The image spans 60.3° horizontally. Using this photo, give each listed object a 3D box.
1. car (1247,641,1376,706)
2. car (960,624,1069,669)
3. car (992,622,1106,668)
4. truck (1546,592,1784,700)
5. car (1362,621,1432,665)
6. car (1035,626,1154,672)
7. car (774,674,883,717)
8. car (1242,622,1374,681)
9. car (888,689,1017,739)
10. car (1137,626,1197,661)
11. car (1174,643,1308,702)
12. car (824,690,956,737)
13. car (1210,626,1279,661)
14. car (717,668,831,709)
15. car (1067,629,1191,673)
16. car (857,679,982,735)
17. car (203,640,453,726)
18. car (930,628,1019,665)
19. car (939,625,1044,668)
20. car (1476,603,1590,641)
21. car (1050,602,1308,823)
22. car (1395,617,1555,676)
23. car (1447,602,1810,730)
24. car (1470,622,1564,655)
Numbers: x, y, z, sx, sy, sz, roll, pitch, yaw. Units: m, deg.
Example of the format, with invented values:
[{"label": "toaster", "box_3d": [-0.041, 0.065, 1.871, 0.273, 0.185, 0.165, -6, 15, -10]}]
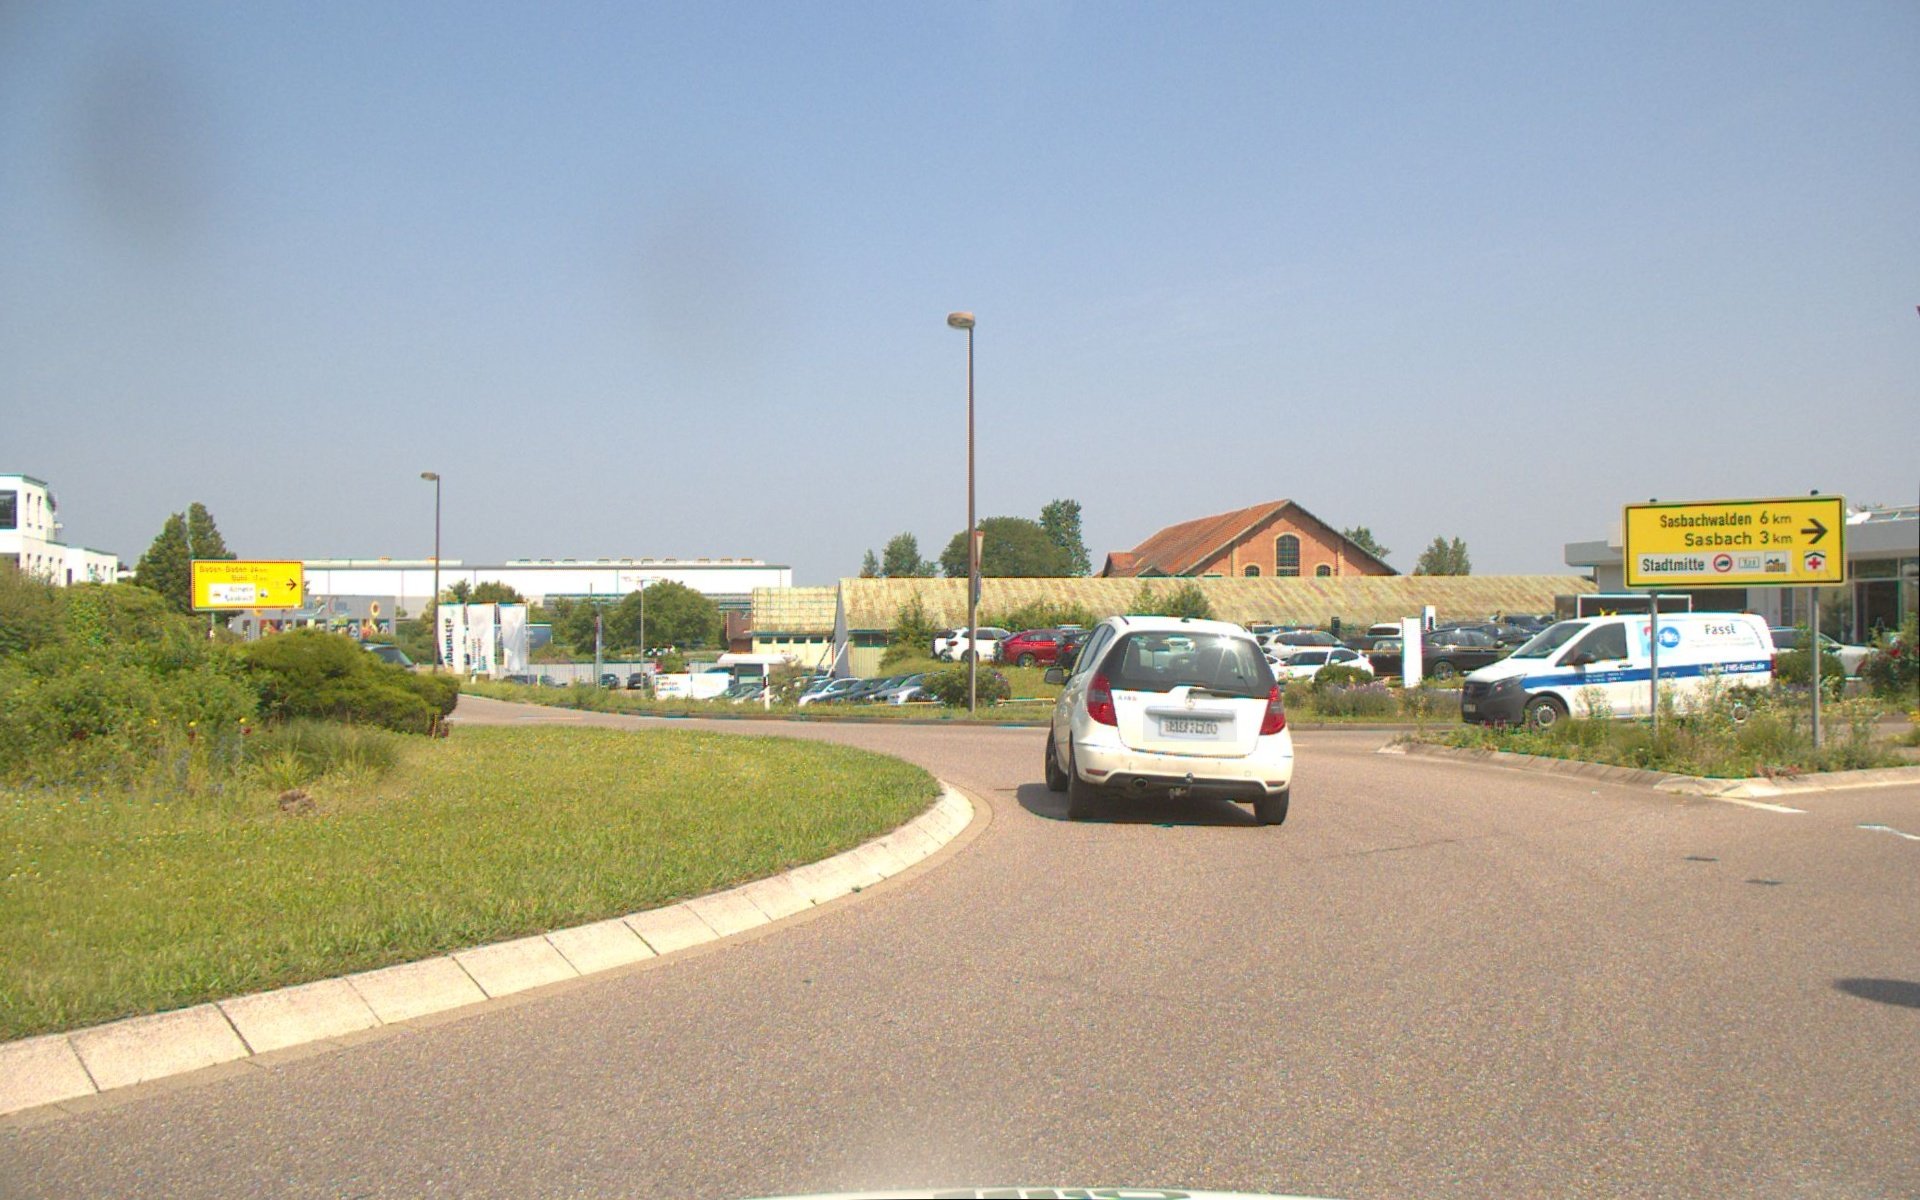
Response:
[{"label": "car", "box_3d": [10.604, 2.187, 49.726, 1.736, 1.598, 4.640, -3, 0, 41]}, {"label": "car", "box_3d": [2.328, 1.975, 70.805, 4.372, 1.778, 1.835, -1, -1, -10]}, {"label": "car", "box_3d": [3.682, 1.879, 68.638, 4.372, 1.778, 1.945, -1, -1, -10]}, {"label": "truck", "box_3d": [18.783, 1.213, 44.204, 5.498, 2.712, 1.948, -1, -1, -4]}, {"label": "car", "box_3d": [17.166, 1.669, 64.884, 1.621, 1.614, 4.261, -2, -1, 29]}, {"label": "car", "box_3d": [5.311, 1.946, 65.703, 4.372, 1.663, 1.945, -1, -1, -10]}, {"label": "car", "box_3d": [-5.375, 3.905, 67.676, 3.949, 1.579, 1.977, 0, -4, -33]}, {"label": "car", "box_3d": [11.835, 1.729, 56.320, 3.923, 1.781, 1.945, -2, -1, -10]}, {"label": "car", "box_3d": [-0.264, 4.075, 59.150, 4.201, 1.491, 1.856, -2, -4, -29]}, {"label": "car", "box_3d": [9.962, 2.103, 79.935, 1.880, 1.624, 4.297, -1, -1, -7]}, {"label": "car", "box_3d": [8.804, 2.244, 51.614, 4.541, 1.598, 1.740, -1, -2, -44]}, {"label": "car", "box_3d": [-2.732, 4.410, 64.360, 4.714, 1.534, 1.981, -2, -4, -29]}, {"label": "car", "box_3d": [13.828, 2.119, 80.746, 2.146, 1.624, 4.297, -1, -1, -7]}, {"label": "car", "box_3d": [-8.043, 3.829, 71.491, 4.438, 1.669, 2.123, 1, -4, -33]}, {"label": "car", "box_3d": [6.491, 1.953, 63.764, 4.372, 1.526, 1.945, -1, -1, -10]}, {"label": "car", "box_3d": [-1.522, 3.999, 61.879, 4.201, 1.779, 1.981, -2, -4, -29]}, {"label": "car", "box_3d": [-11.850, 1.561, 31.160, 3.986, 1.557, 1.786, 0, -3, 6]}, {"label": "car", "box_3d": [0.645, 2.122, 75.571, 3.804, 1.559, 1.764, -1, -1, -10]}, {"label": "car", "box_3d": [1.398, 2.045, 73.323, 4.372, 1.778, 1.835, -1, -1, -10]}, {"label": "car", "box_3d": [25.670, 0.996, 74.180, 4.366, 1.549, 1.947, -1, -1, -5]}, {"label": "car", "box_3d": [1.740, 0.845, 14.279, 1.744, 1.631, 3.893, 1, 0, 1]}, {"label": "car", "box_3d": [16.101, 1.470, 51.818, 4.332, 1.526, 1.945, -3, -2, -10]}, {"label": "car", "box_3d": [10.668, 1.072, 26.608, 5.110, 1.972, 1.859, 0, -3, -4]}, {"label": "car", "box_3d": [22.729, 1.580, 67.537, 1.638, 1.298, 3.302, -1, -1, -34]}]
